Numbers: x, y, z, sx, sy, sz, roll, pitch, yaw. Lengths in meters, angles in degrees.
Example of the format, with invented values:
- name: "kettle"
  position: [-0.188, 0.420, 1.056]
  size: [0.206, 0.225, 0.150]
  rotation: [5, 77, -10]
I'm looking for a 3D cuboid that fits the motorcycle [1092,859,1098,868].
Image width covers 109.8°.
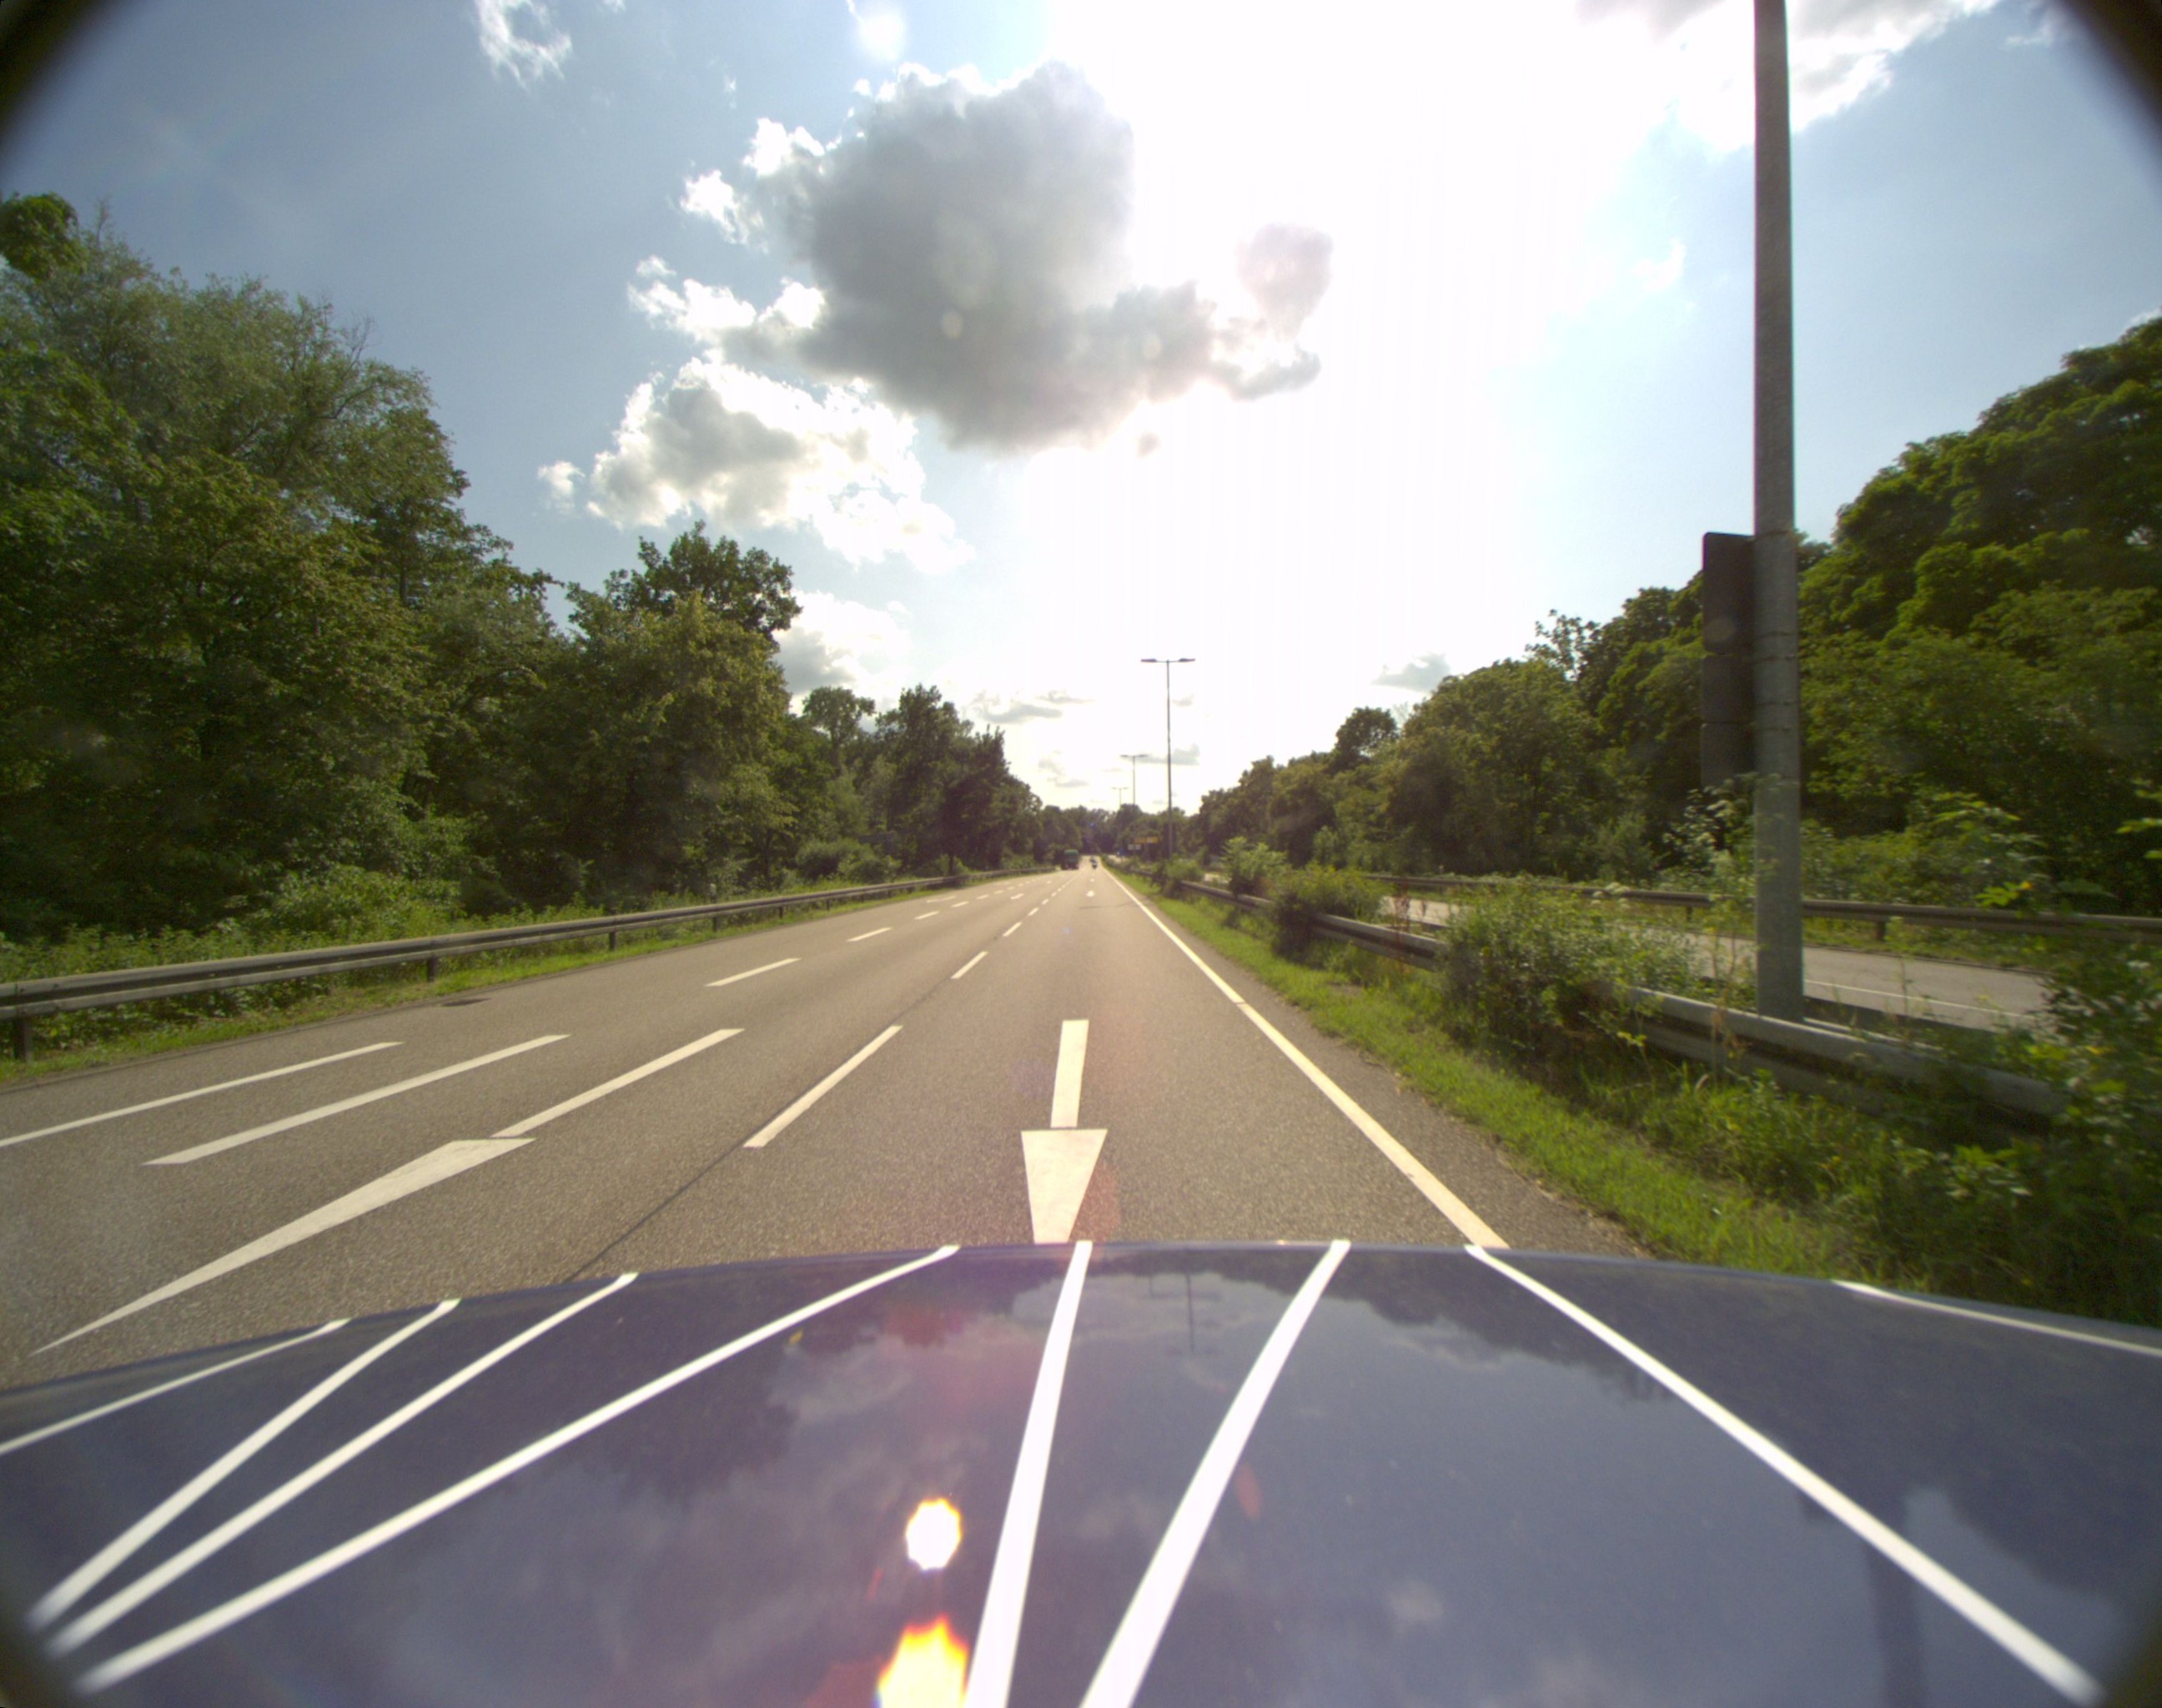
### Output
- name: "motorcycle"
  position: [2.255, 1.550, 124.534]
  size: [0.939, 1.375, 2.370]
  rotation: [0, -1, 0]

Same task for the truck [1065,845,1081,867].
- name: "truck"
  position: [-1.394, 0.419, 136.545]
  size: [2.592, 3.870, 6.061]
  rotation: [-2, -1, -2]

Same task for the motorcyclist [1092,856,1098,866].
- name: "motorcyclist"
  position: [2.260, 1.170, 124.483]
  size: [0.939, 1.581, 1.083]
  rotation: [0, -1, 0]
